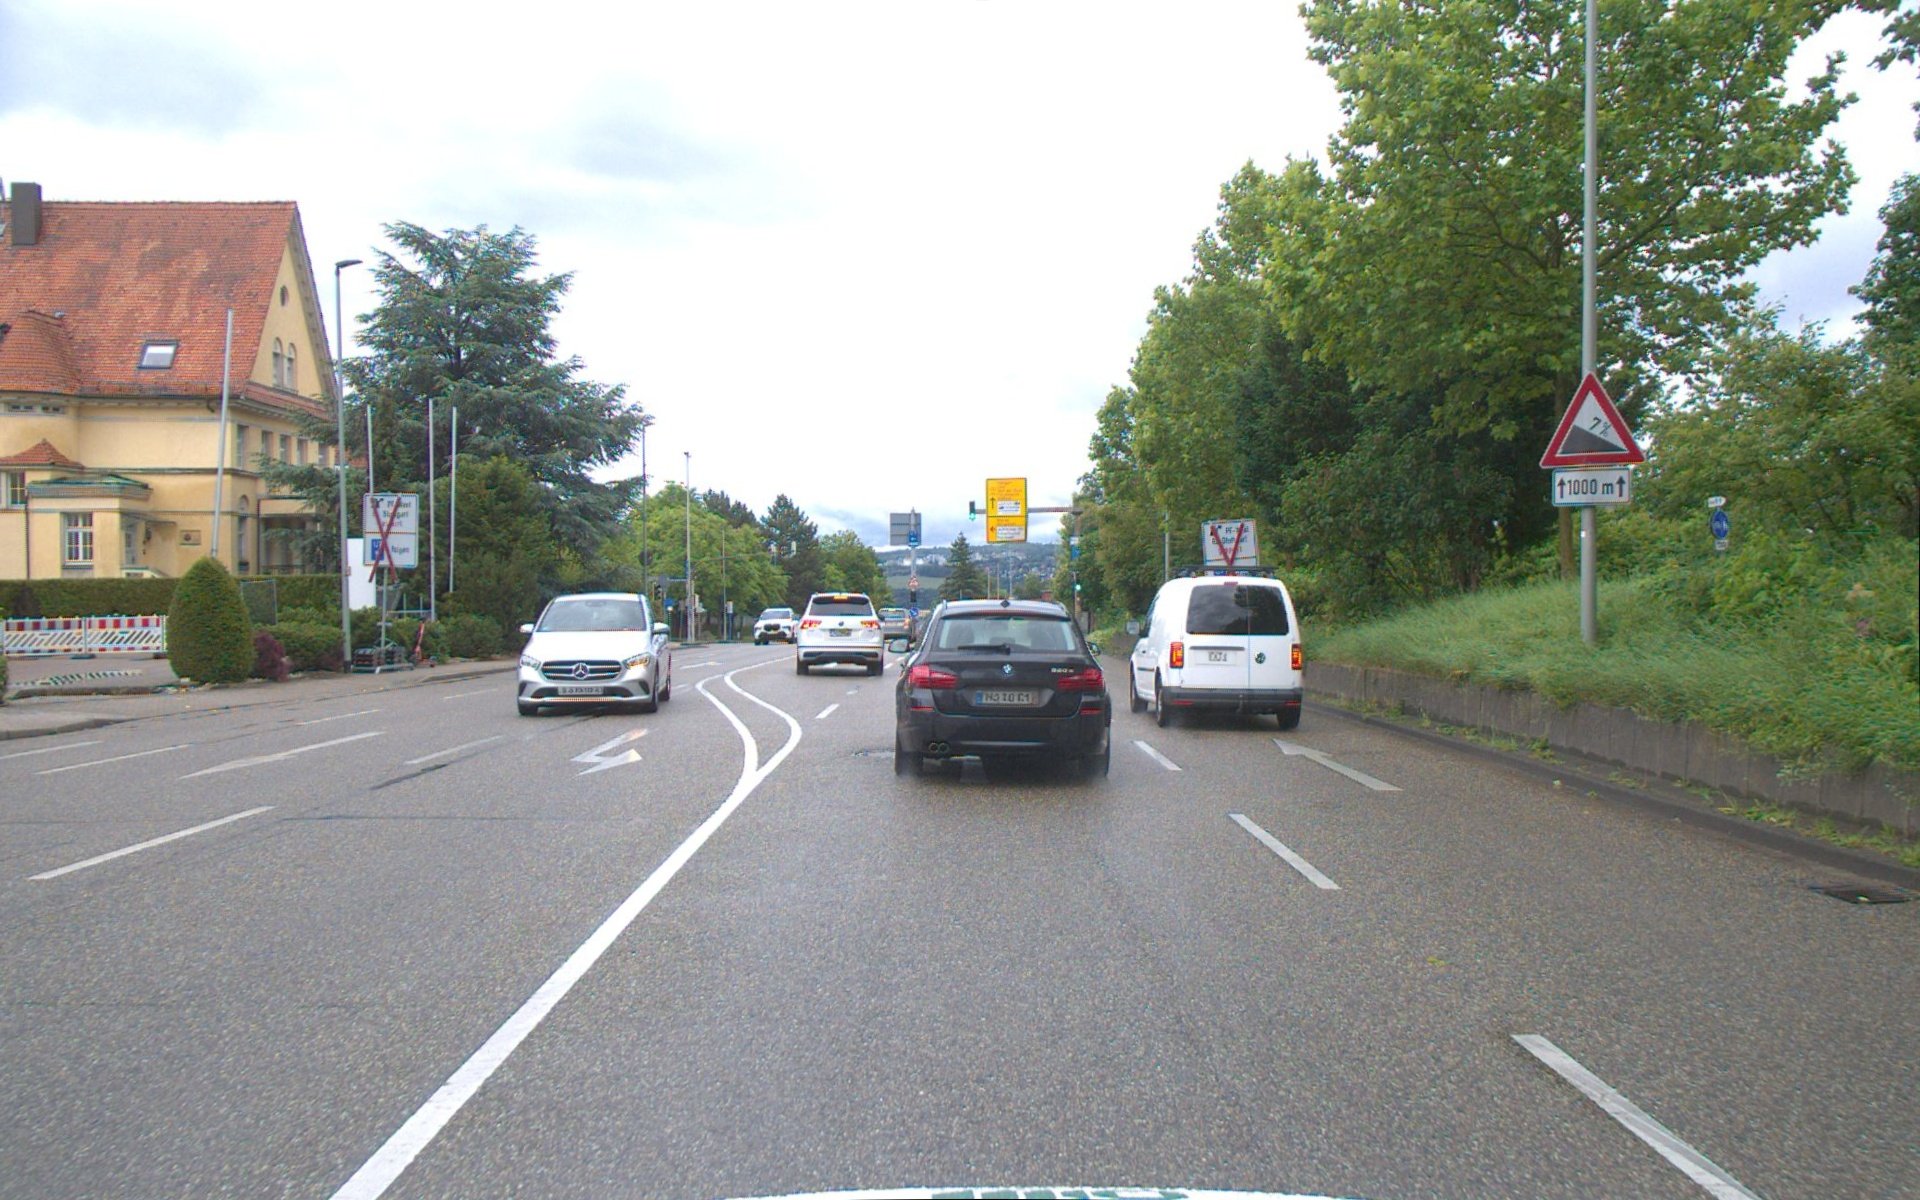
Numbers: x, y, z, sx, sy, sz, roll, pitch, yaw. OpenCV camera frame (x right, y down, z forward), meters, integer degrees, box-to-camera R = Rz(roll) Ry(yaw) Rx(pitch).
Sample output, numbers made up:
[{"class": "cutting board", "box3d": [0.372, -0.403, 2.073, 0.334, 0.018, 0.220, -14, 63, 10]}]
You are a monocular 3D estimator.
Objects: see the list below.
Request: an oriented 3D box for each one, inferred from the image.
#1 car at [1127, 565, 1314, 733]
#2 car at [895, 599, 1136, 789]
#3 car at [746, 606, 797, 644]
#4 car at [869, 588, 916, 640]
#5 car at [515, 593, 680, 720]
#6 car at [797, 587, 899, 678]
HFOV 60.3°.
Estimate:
[{"class": "car", "box3d": [3.218, 0.531, 21.107, 1.729, 1.910, 3.805, 0, 2, -1]}, {"class": "car", "box3d": [0.448, 0.749, 14.865, 1.860, 1.467, 4.000, 0, -1, 0]}, {"class": "car", "box3d": [-9.555, 1.259, 84.246, 1.878, 1.793, 5.143, -3, -1, 1]}, {"class": "car", "box3d": [-2.825, 0.572, 70.187, 1.773, 2.124, 3.850, 1, 0, 0]}, {"class": "car", "box3d": [-4.844, 0.708, 22.611, 1.716, 1.534, 4.296, -1, 0, -6]}, {"class": "car", "box3d": [-2.315, 0.635, 35.090, 1.830, 1.702, 4.001, 0, 2, 0]}]
